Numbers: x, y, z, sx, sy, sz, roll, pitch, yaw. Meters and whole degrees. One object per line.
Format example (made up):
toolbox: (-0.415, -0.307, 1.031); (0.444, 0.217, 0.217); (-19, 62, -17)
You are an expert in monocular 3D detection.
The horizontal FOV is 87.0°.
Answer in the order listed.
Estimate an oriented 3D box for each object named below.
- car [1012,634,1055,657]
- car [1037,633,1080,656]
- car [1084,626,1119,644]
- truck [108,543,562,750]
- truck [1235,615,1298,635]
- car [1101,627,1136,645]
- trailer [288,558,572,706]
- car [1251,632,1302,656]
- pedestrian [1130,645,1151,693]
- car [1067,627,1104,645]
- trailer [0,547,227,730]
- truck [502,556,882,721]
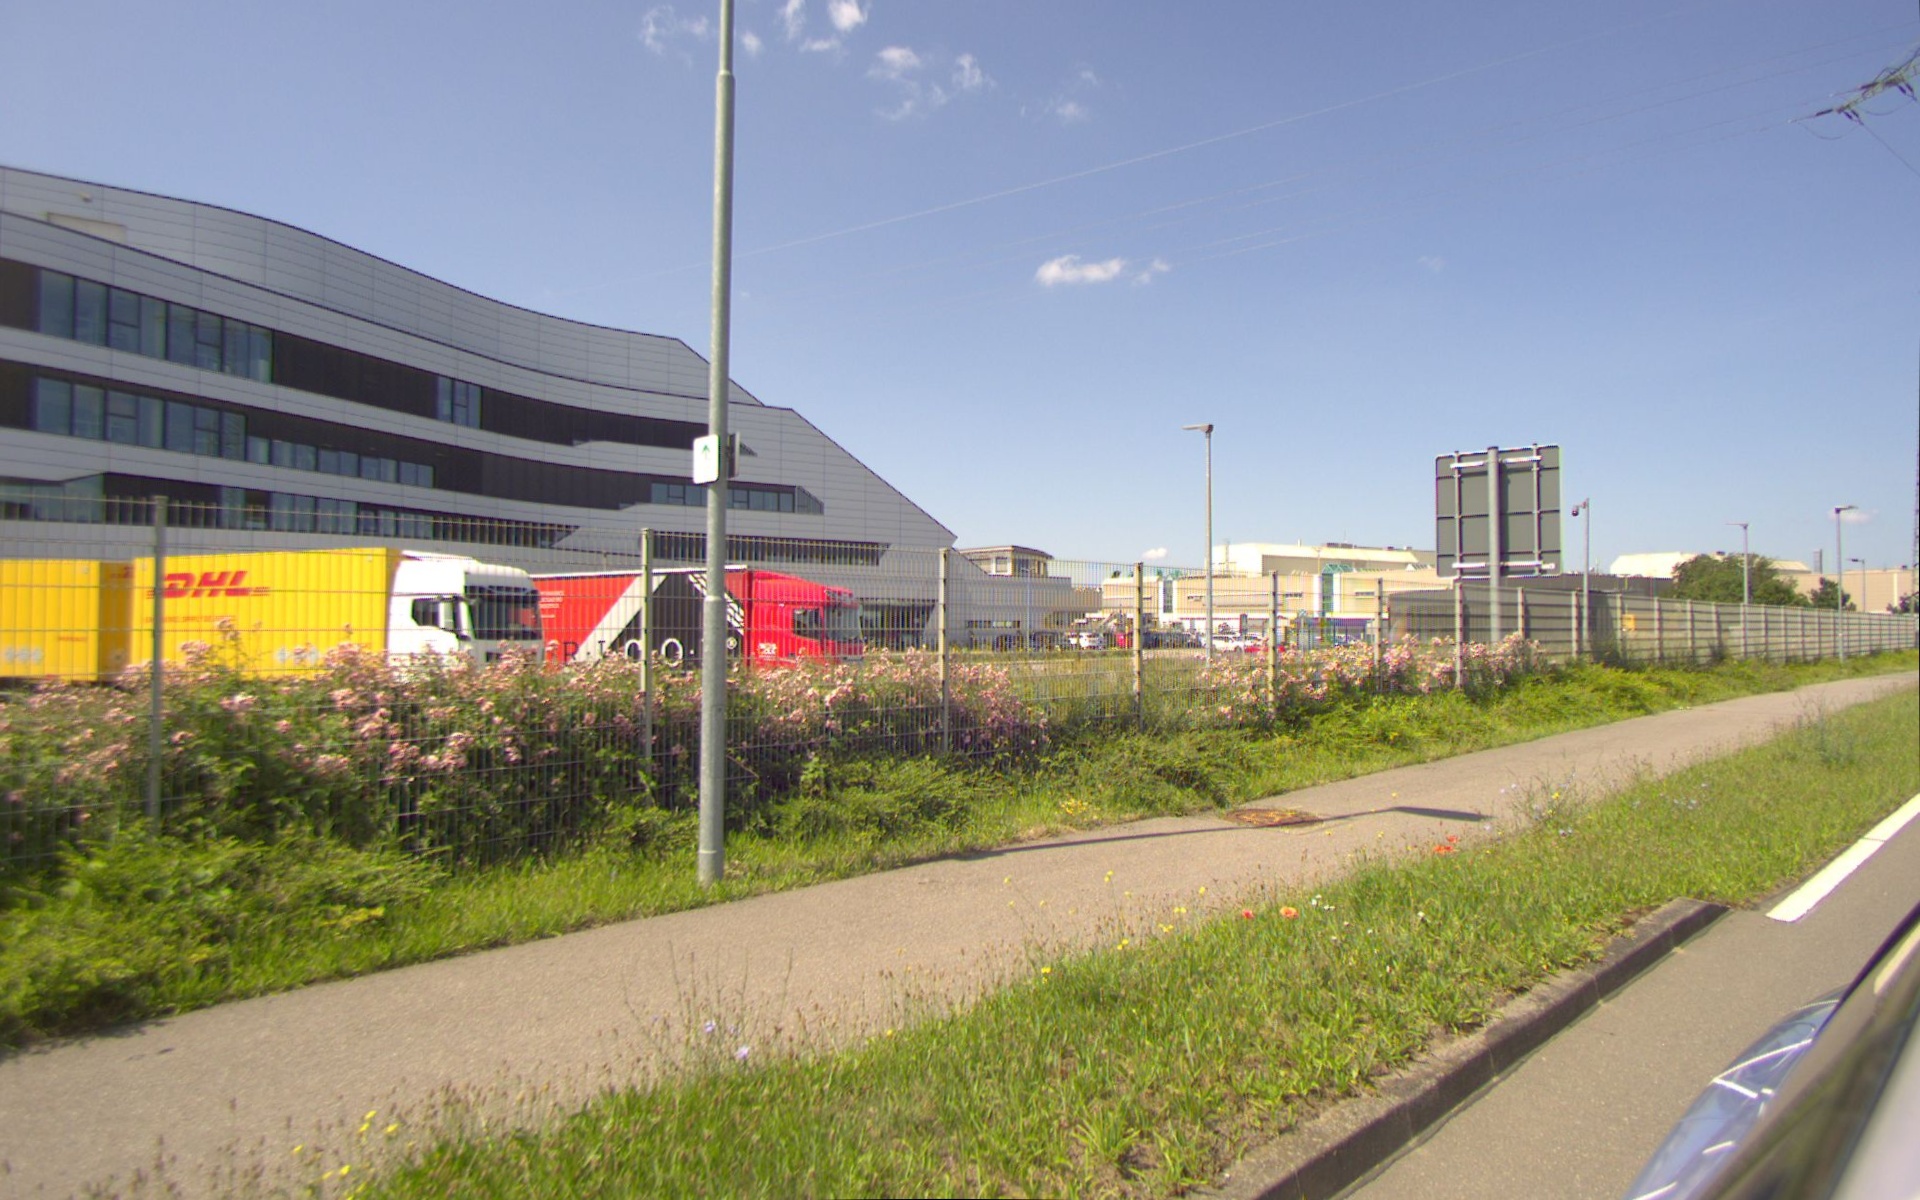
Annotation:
car: (5.102, 3.152, 70.461); (1.443, 1.554, 3.057); (1, -2, -34)
car: (7.012, 3.153, 71.980); (1.443, 1.554, 3.057); (1, -2, -34)
car: (12.482, 3.098, 89.367); (1.443, 1.554, 3.057); (1, -2, -34)
truck: (-14.765, 0.895, 23.775); (10.829, 4.225, 2.806); (0, 0, 19)
truck: (48.361, 3.935, 159.680); (11.612, 3.178, 2.001); (1, -3, -29)
car: (14.225, 3.256, 91.124); (1.443, 1.554, 3.057); (1, -2, -34)
trailer: (-17.055, 0.887, 32.577); (8.600, 4.350, 3.011); (0, 0, 19)
car: (21.900, 3.010, 70.084); (1.427, 1.554, 3.152); (1, -2, -34)
pedestrian: (6.438, 2.447, 36.133); (0.563, 1.674, 0.484); (1, -2, -36)
car: (10.831, 3.083, 87.455); (1.443, 1.554, 3.057); (1, -2, -34)
trailer: (-23.973, 0.874, 26.543); (8.588, 4.350, 2.889); (0, 0, 15)
truck: (-7.862, 0.952, 29.542); (10.826, 4.310, 3.012); (0, 0, 18)
